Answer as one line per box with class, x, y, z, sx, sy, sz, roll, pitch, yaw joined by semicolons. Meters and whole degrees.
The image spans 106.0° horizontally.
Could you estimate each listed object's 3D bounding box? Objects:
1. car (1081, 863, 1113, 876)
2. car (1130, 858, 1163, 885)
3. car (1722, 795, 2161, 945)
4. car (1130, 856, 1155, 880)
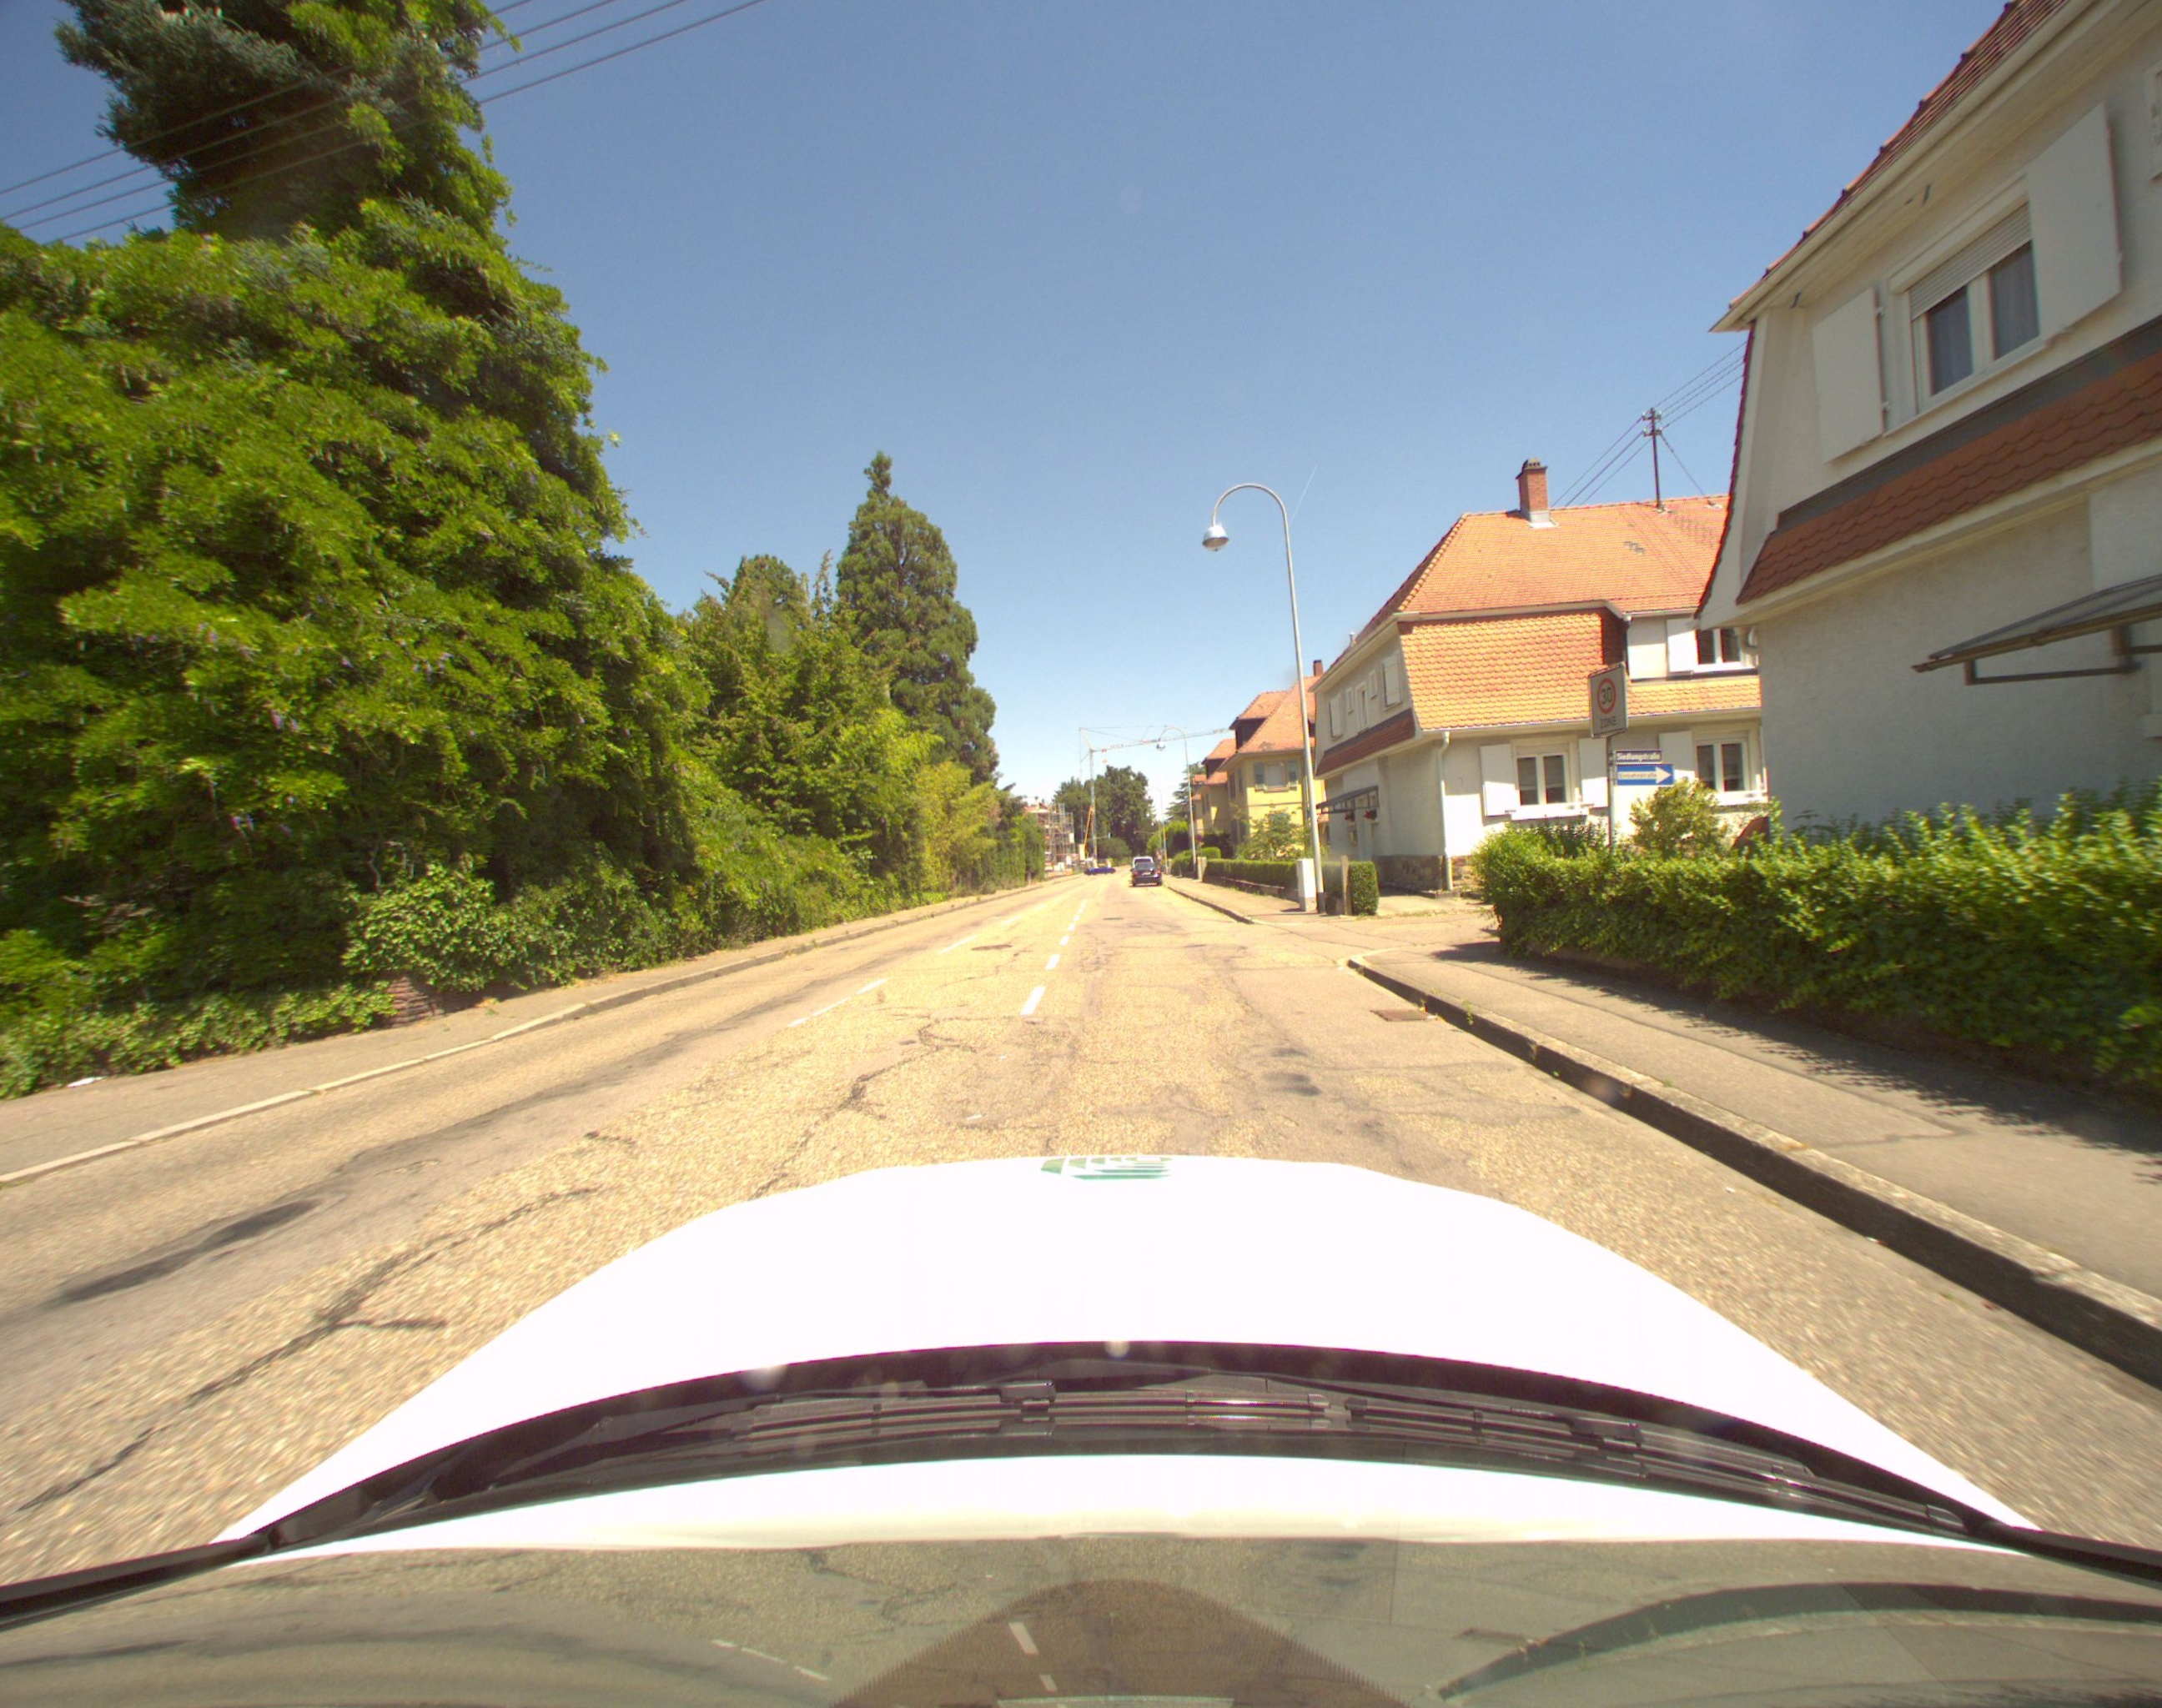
car;2.290;2.204;115.725;4.010;1.468;1.947;-4;1;-28
car;3.847;1.056;48.393;1.686;1.419;4.553;-4;-1;3
car;10.812;0.196;10.312;3.981;1.536;1.693;-3;-1;1
car;5.112;1.159;68.295;1.985;1.901;4.826;-2;-1;3
